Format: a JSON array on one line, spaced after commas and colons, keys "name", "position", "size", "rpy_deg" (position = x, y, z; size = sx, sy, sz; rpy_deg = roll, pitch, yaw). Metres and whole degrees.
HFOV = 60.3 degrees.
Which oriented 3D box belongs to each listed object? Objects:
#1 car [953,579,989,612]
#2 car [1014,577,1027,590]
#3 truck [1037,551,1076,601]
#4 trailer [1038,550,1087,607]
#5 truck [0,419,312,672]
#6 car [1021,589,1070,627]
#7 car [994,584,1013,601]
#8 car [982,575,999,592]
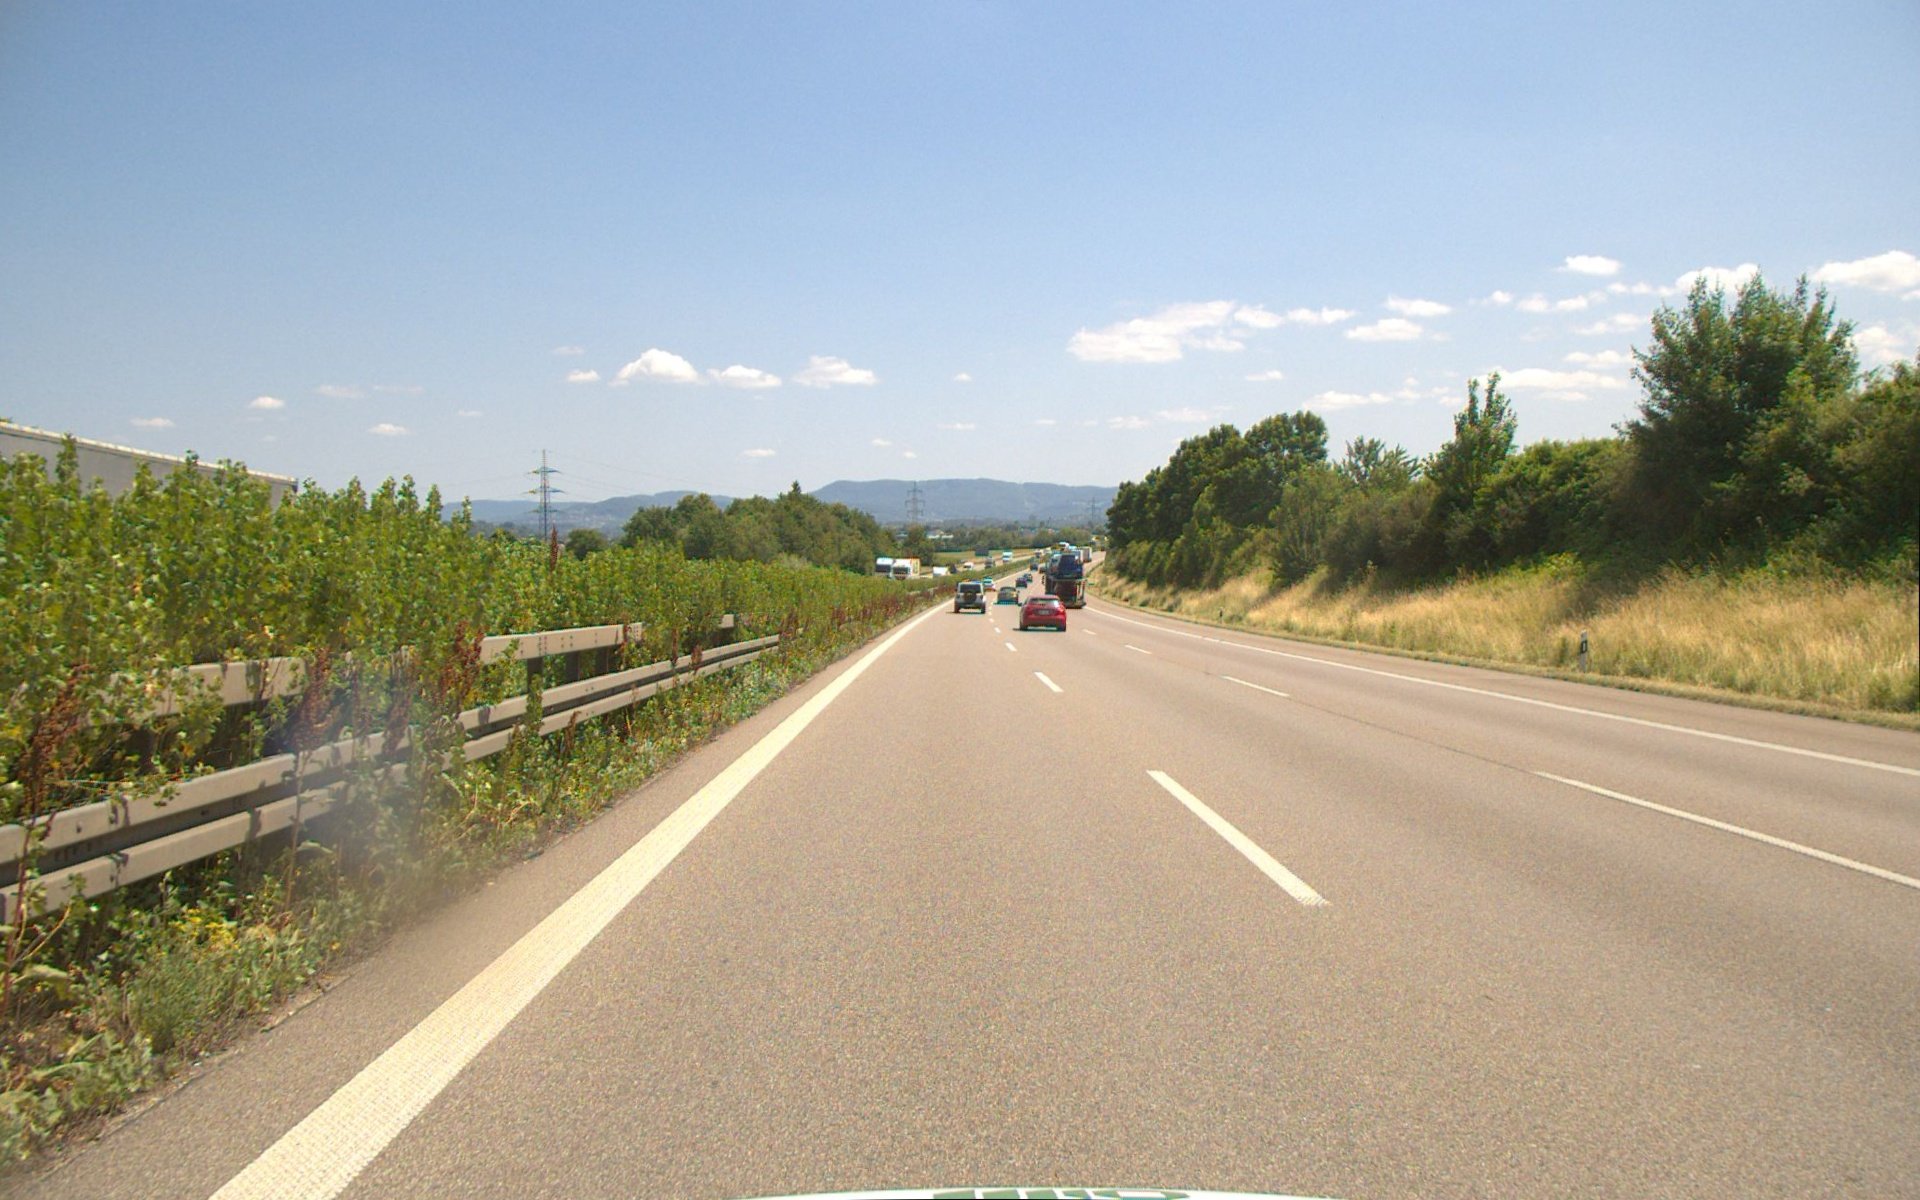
[{"name": "car", "position": [0.641, -0.305, 101.411], "size": [2.041, 1.861, 4.752], "rpy_deg": [1, 1, -2]}, {"name": "car", "position": [8.446, -2.278, 231.423], "size": [1.601, 1.734, 3.404], "rpy_deg": [1, 1, 7]}, {"name": "truck", "position": [7.872, -2.016, 135.873], "size": [2.698, 3.919, 6.644], "rpy_deg": [1, 1, -1]}, {"name": "trailer", "position": [7.867, -1.770, 128.282], "size": [2.796, 4.062, 15.398], "rpy_deg": [1, 1, 0]}, {"name": "truck", "position": [-17.071, -0.940, 31.901], "size": [2.915, 4.083, 16.823], "rpy_deg": [1, 0, -2]}, {"name": "car", "position": [3.413, 0.292, 66.408], "size": [1.652, 1.403, 3.948], "rpy_deg": [1, 1, -1]}, {"name": "car", "position": [3.551, -0.611, 135.782], "size": [1.422, 1.289, 3.539], "rpy_deg": [1, 1, 0]}, {"name": "car", "position": [3.773, -2.072, 204.477], "size": [1.662, 2.048, 3.825], "rpy_deg": [1, 1, 7]}]
